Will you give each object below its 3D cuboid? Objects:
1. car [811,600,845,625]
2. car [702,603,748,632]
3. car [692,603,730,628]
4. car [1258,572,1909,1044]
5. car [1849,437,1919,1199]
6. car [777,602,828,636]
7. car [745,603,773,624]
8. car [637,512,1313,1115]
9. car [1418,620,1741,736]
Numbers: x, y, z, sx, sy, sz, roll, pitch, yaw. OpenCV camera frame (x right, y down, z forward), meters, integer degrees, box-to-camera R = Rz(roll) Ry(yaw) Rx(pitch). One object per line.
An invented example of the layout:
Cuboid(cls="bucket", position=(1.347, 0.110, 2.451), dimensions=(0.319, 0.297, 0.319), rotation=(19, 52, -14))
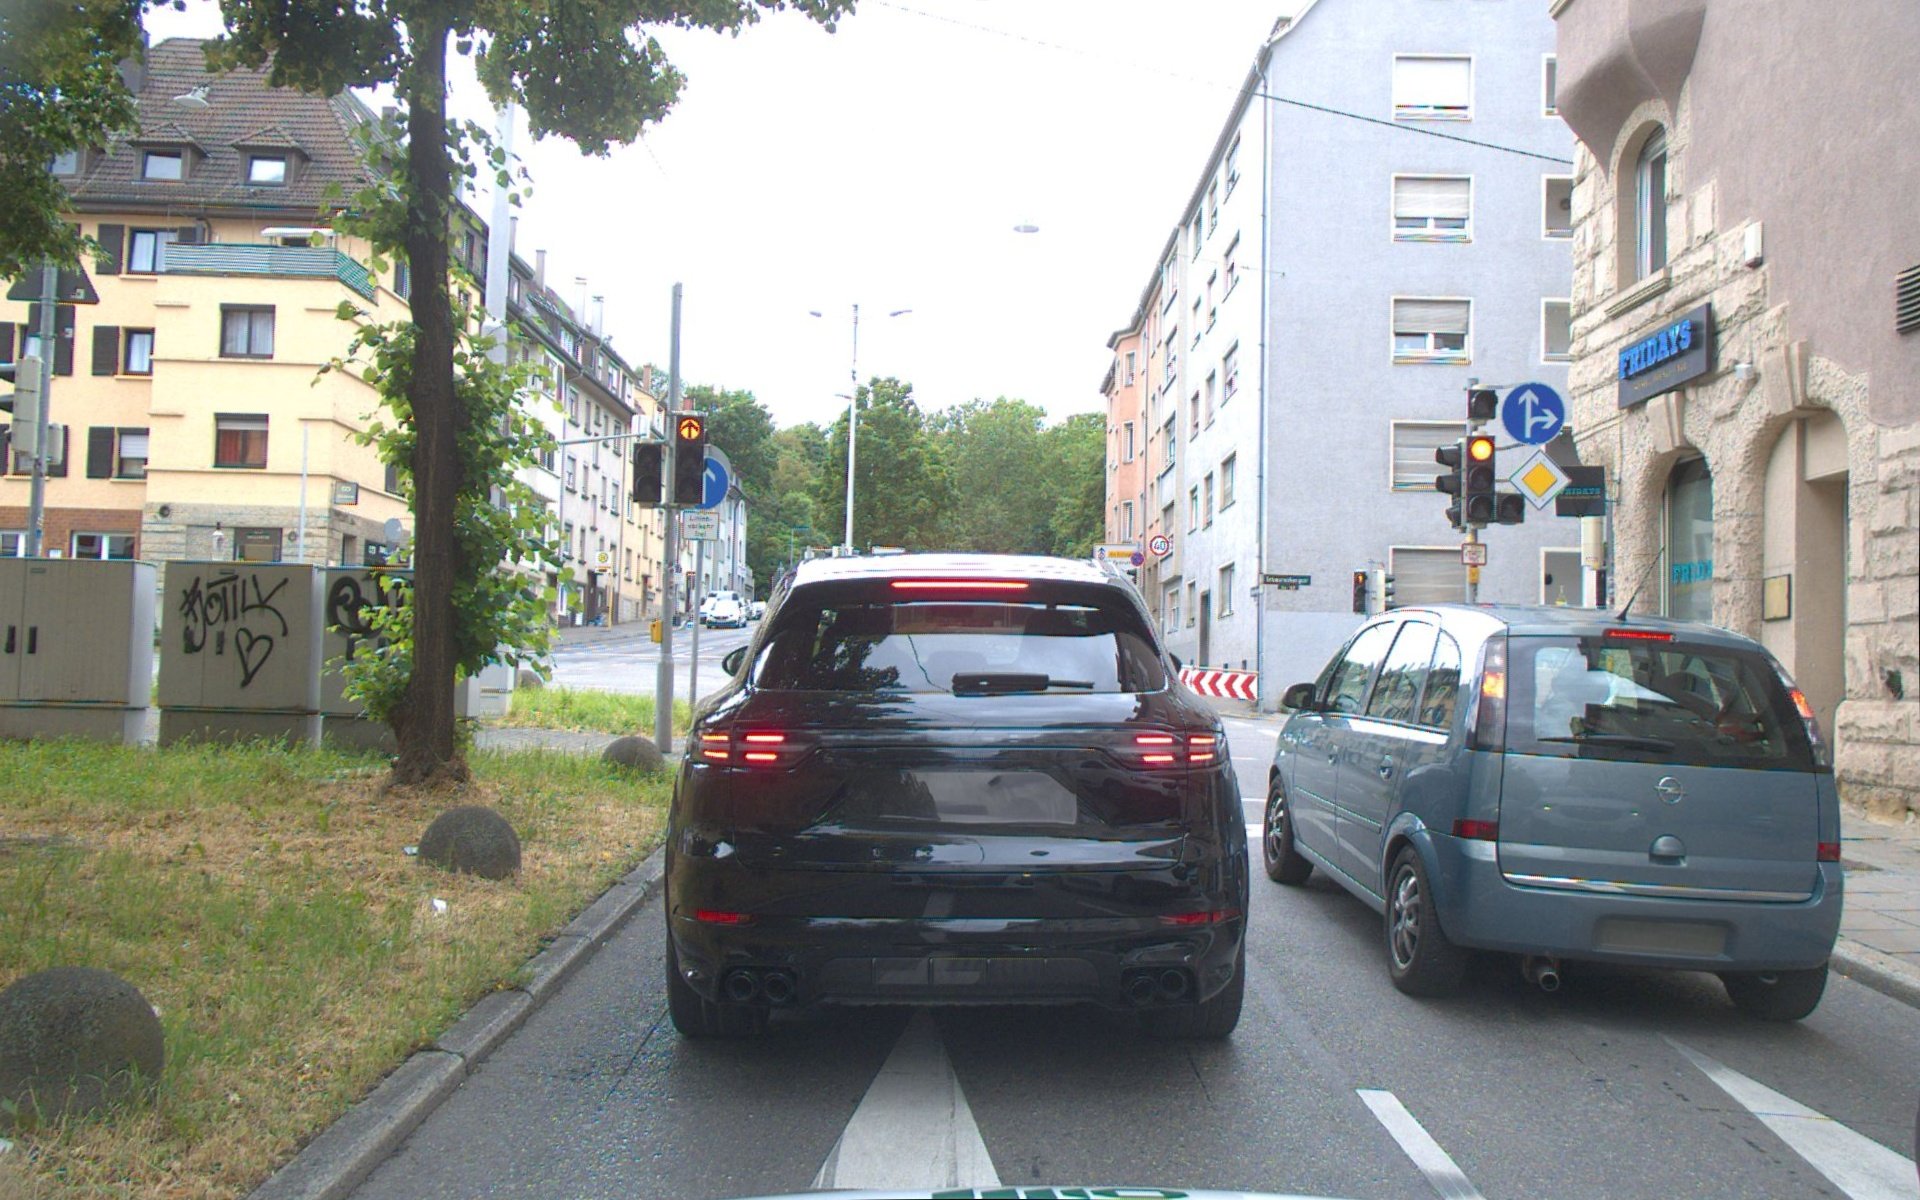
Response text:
Cuboid(cls="car", position=(-8.876, 0.852, 111.679), dimensions=(1.933, 1.638, 4.557), rotation=(1, 0, -1))
Cuboid(cls="car", position=(-12.635, 0.924, 88.951), dimensions=(1.806, 1.512, 3.898), rotation=(1, 0, 1))
Cuboid(cls="car", position=(-14.790, 0.902, 98.372), dimensions=(1.703, 1.411, 3.813), rotation=(1, 0, 0))
Cuboid(cls="car", position=(2.626, 0.774, 7.906), dimensions=(1.596, 1.625, 3.668), rotation=(4, 0, -1))
Cuboid(cls="car", position=(2.882, 0.647, 1.032), dimensions=(1.936, 1.806, 4.674), rotation=(4, 0, -2))
Cuboid(cls="car", position=(-6.802, 0.796, 71.722), dimensions=(1.824, 1.412, 4.094), rotation=(1, 0, 0))
Cuboid(cls="car", position=(-15.149, 1.020, 124.762), dimensions=(1.655, 1.565, 3.813), rotation=(1, 0, 0))
Cuboid(cls="car", position=(0.020, 0.615, 6.702), dimensions=(1.916, 1.704, 3.999), rotation=(0, 0, -1))
Cuboid(cls="car", position=(9.096, 1.134, 24.428), dimensions=(4.155, 1.547, 1.664), rotation=(2, -1, -6))
